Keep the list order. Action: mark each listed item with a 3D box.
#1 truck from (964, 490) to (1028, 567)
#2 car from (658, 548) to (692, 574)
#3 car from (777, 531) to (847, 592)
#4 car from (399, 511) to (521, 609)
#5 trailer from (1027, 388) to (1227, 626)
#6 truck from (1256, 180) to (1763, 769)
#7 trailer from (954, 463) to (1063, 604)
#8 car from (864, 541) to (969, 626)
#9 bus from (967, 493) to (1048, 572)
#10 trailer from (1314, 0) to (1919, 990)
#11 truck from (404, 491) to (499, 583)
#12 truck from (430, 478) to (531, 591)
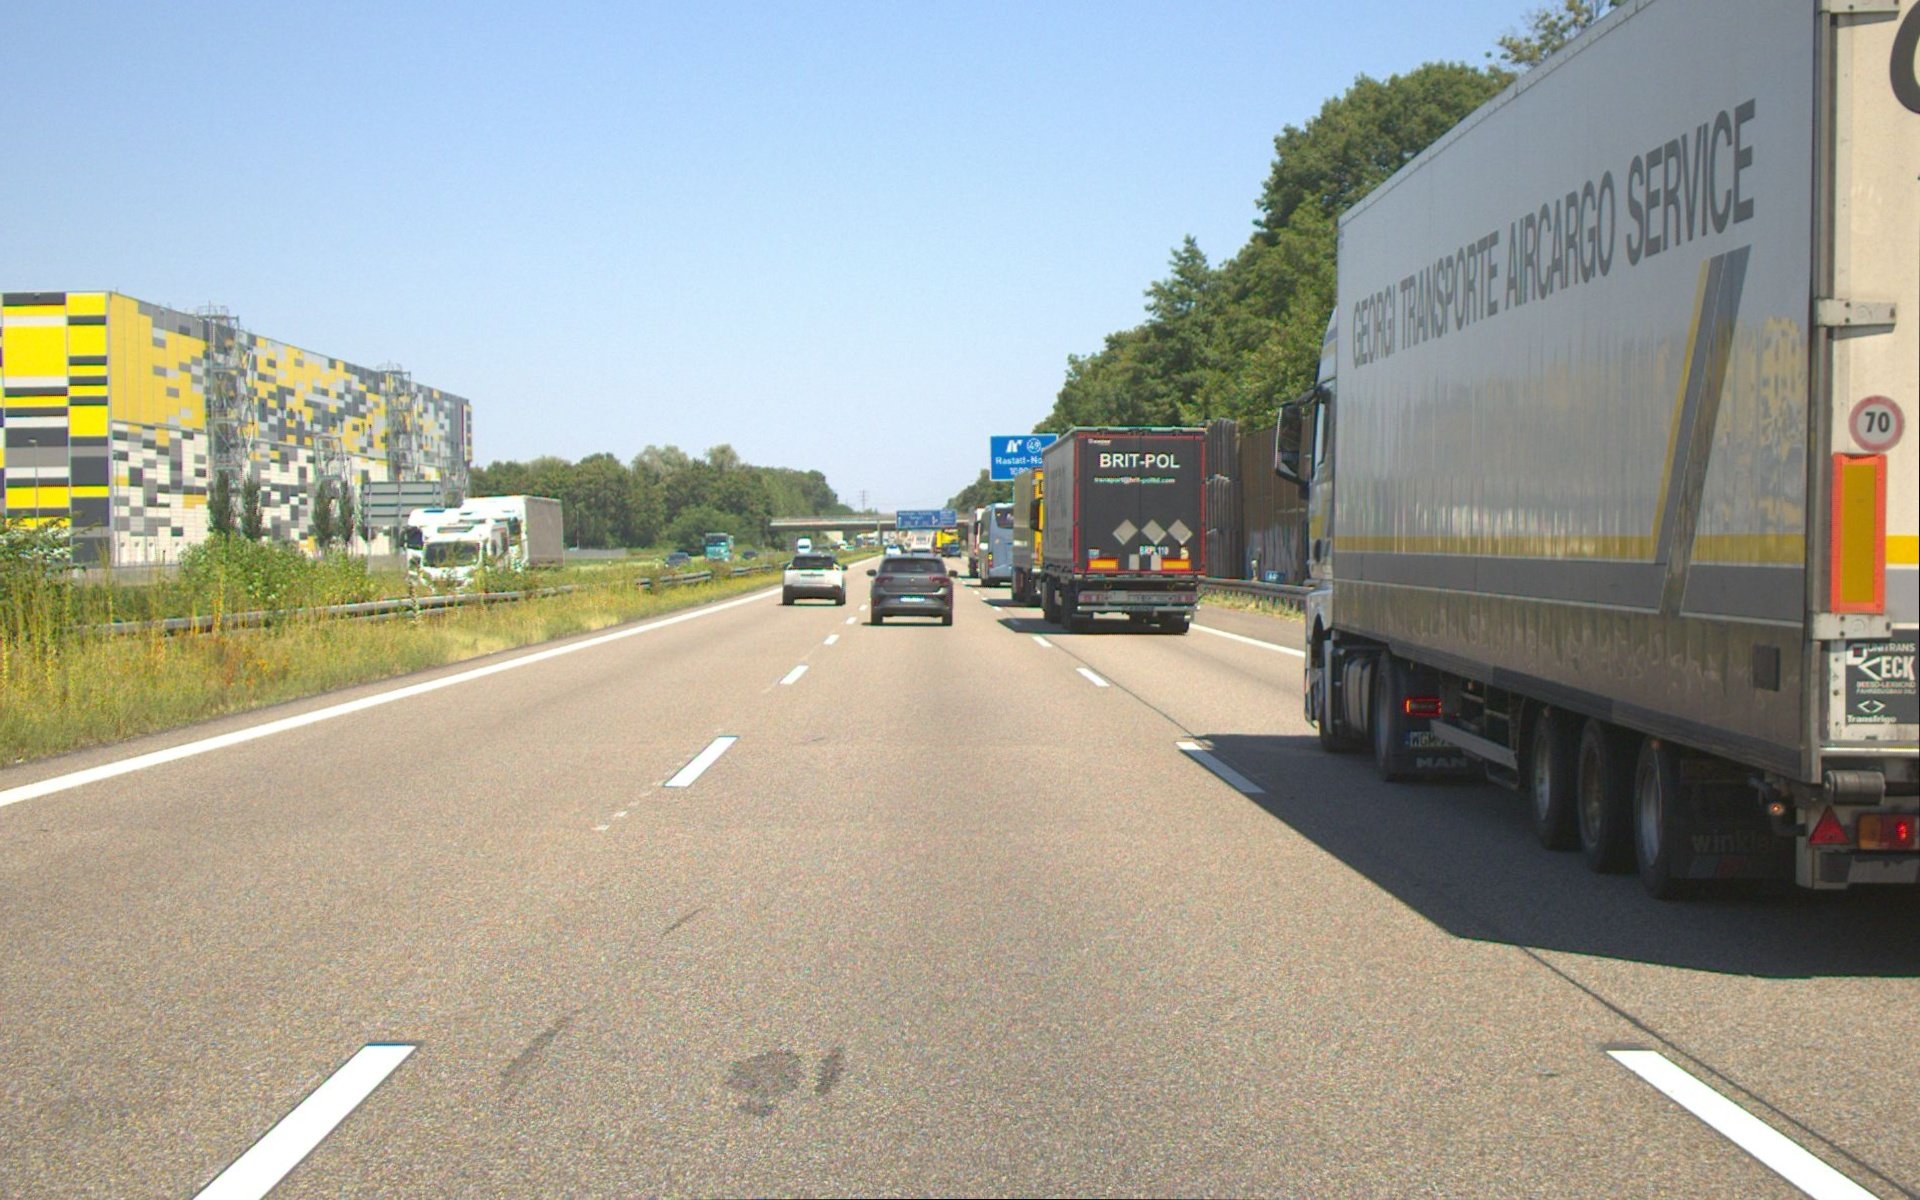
[{"bbox_3d":[1.990,-3.987,192.124,3.422,4.112,9.565,-1,1,0],"label":"truck"},{"bbox_3d":[-20.333,-2.763,245.280,1.993,1.674,5.552,-1,-1,0],"label":"car"},{"bbox_3d":[-4.330,-1.137,100.876,1.993,1.722,4.131,0,1,-2],"label":"car"},{"bbox_3d":[-15.842,-1.281,109.411,2.547,2.972,8.084,-1,1,1],"label":"car"},{"bbox_3d":[3.331,-1.857,72.957,3.106,4.491,14.897,1,1,-1],"label":"trailer"},{"bbox_3d":[4.085,-0.901,26.753,3.002,4.110,5.253,0,0,-1],"label":"truck"},{"bbox_3d":[1.356,-1.980,102.554,2.834,3.940,11.685,0,1,-1],"label":"trailer"},{"bbox_3d":[-0.961,-0.398,75.458,2.216,1.784,5.394,-1,1,-1],"label":"car"},{"bbox_3d":[2.031,-2.963,150.983,3.062,3.315,8.275,-1,1,-2],"label":"bus"},{"bbox_3d":[4.238,-0.865,18.635,2.993,4.274,13.419,1,1,-1],"label":"trailer"},{"bbox_3d":[-22.891,-2.810,155.387,2.648,3.871,10.828,-3,1,-1],"label":"truck"},{"bbox_3d":[-19.496,-2.633,140.141,3.160,4.411,6.981,-1,1,-1],"label":"truck"}]
